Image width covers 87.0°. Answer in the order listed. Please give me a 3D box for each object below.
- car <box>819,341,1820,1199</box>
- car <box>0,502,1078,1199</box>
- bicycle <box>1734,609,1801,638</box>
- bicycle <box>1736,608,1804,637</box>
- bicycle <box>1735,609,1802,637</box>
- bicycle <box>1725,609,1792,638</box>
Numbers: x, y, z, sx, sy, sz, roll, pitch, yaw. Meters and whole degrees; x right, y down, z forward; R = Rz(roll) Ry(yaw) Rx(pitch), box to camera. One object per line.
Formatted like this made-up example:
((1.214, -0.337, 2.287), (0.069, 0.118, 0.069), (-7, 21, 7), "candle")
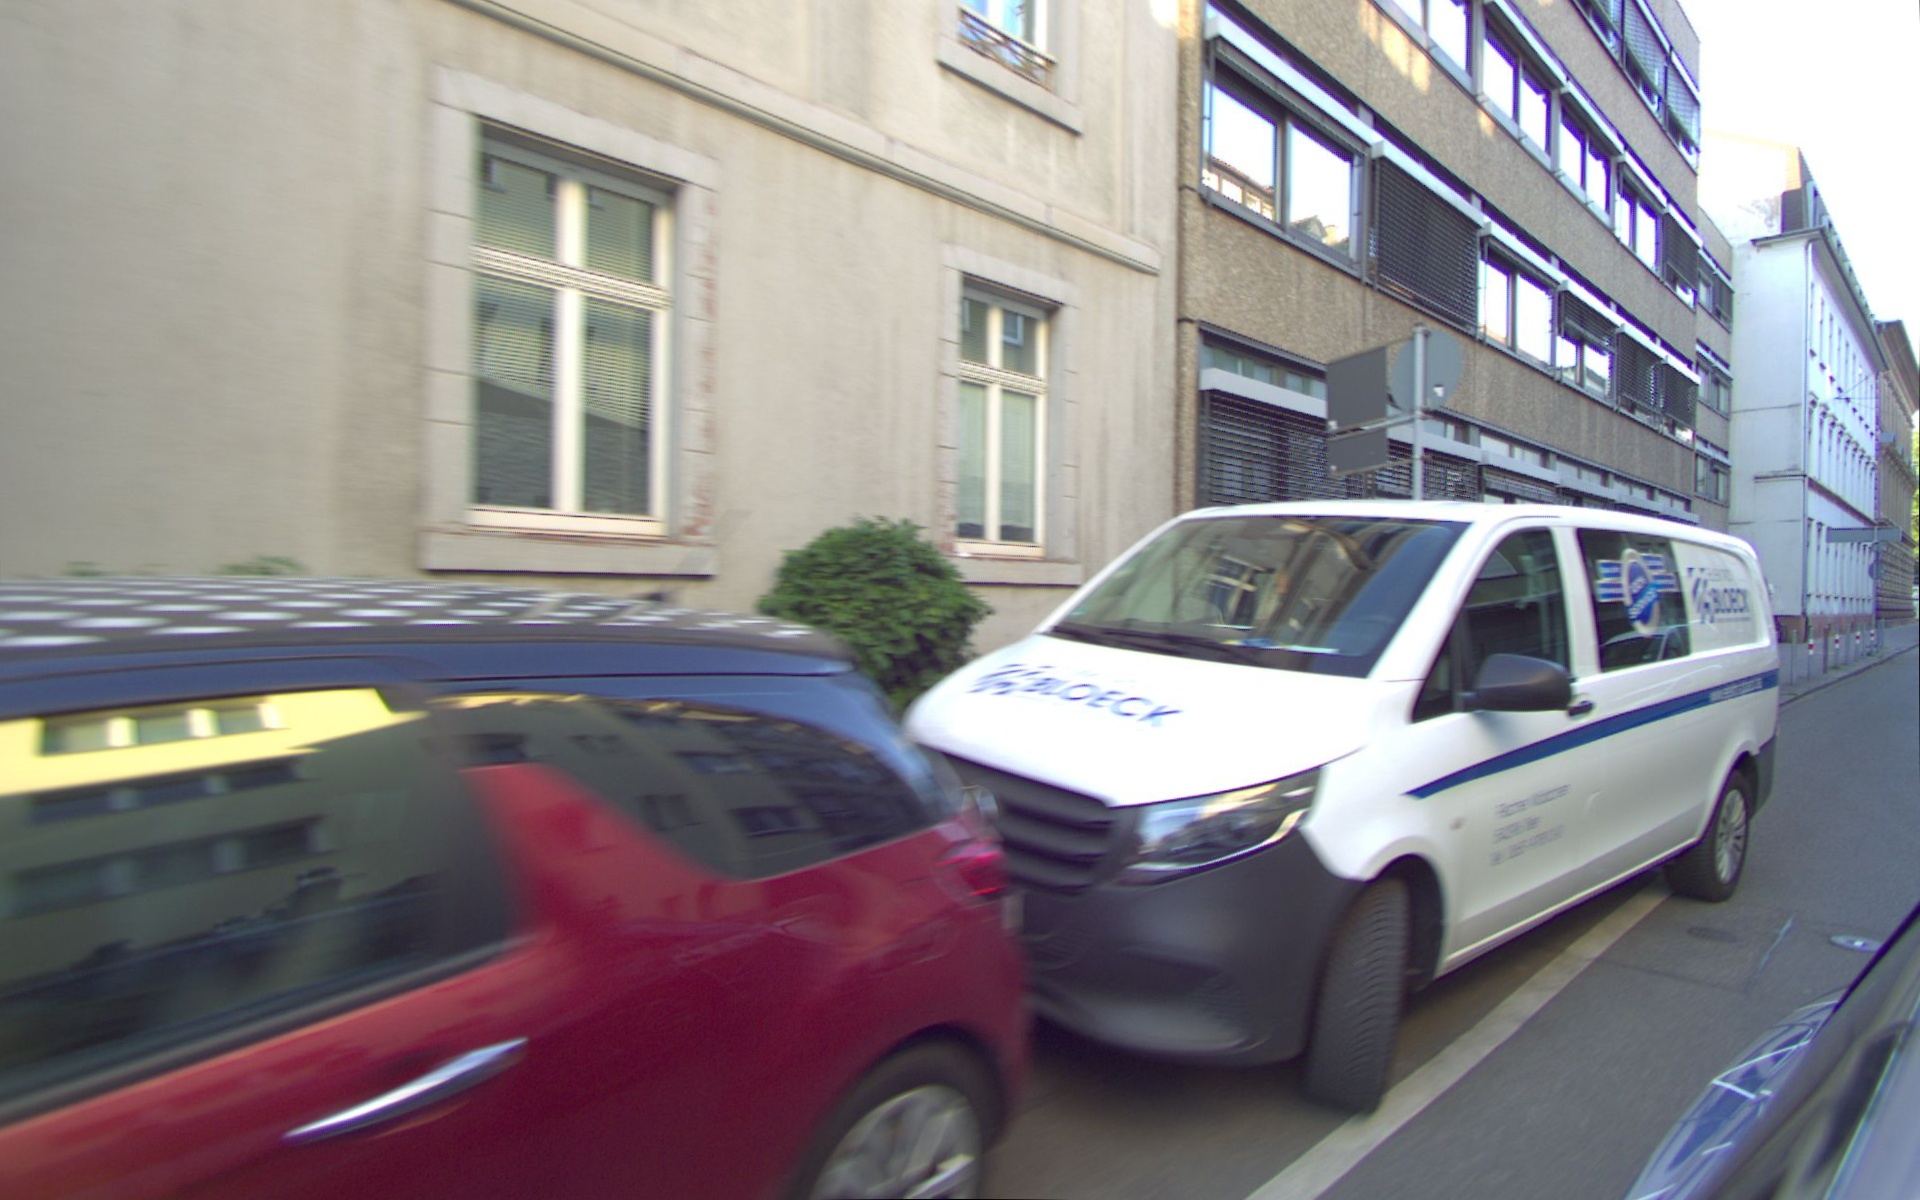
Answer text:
((2.092, 0.390, 4.604), (5.183, 1.921, 1.940), (0, 1, -40), "car")
((-1.618, 0.654, 1.474), (1.655, 1.524, 3.693), (1, 1, 44), "car")
((27.793, 0.805, 34.848), (1.792, 0.934, 0.509), (0, 0, 40), "bicycle")
((27.366, 0.759, 34.213), (1.792, 0.934, 0.530), (0, 0, 40), "bicycle")
((28.159, 0.803, 35.278), (1.795, 0.934, 0.390), (0, 0, 44), "bicycle")
((26.664, 0.761, 33.793), (1.737, 0.934, 0.530), (0, 0, 41), "bicycle")
